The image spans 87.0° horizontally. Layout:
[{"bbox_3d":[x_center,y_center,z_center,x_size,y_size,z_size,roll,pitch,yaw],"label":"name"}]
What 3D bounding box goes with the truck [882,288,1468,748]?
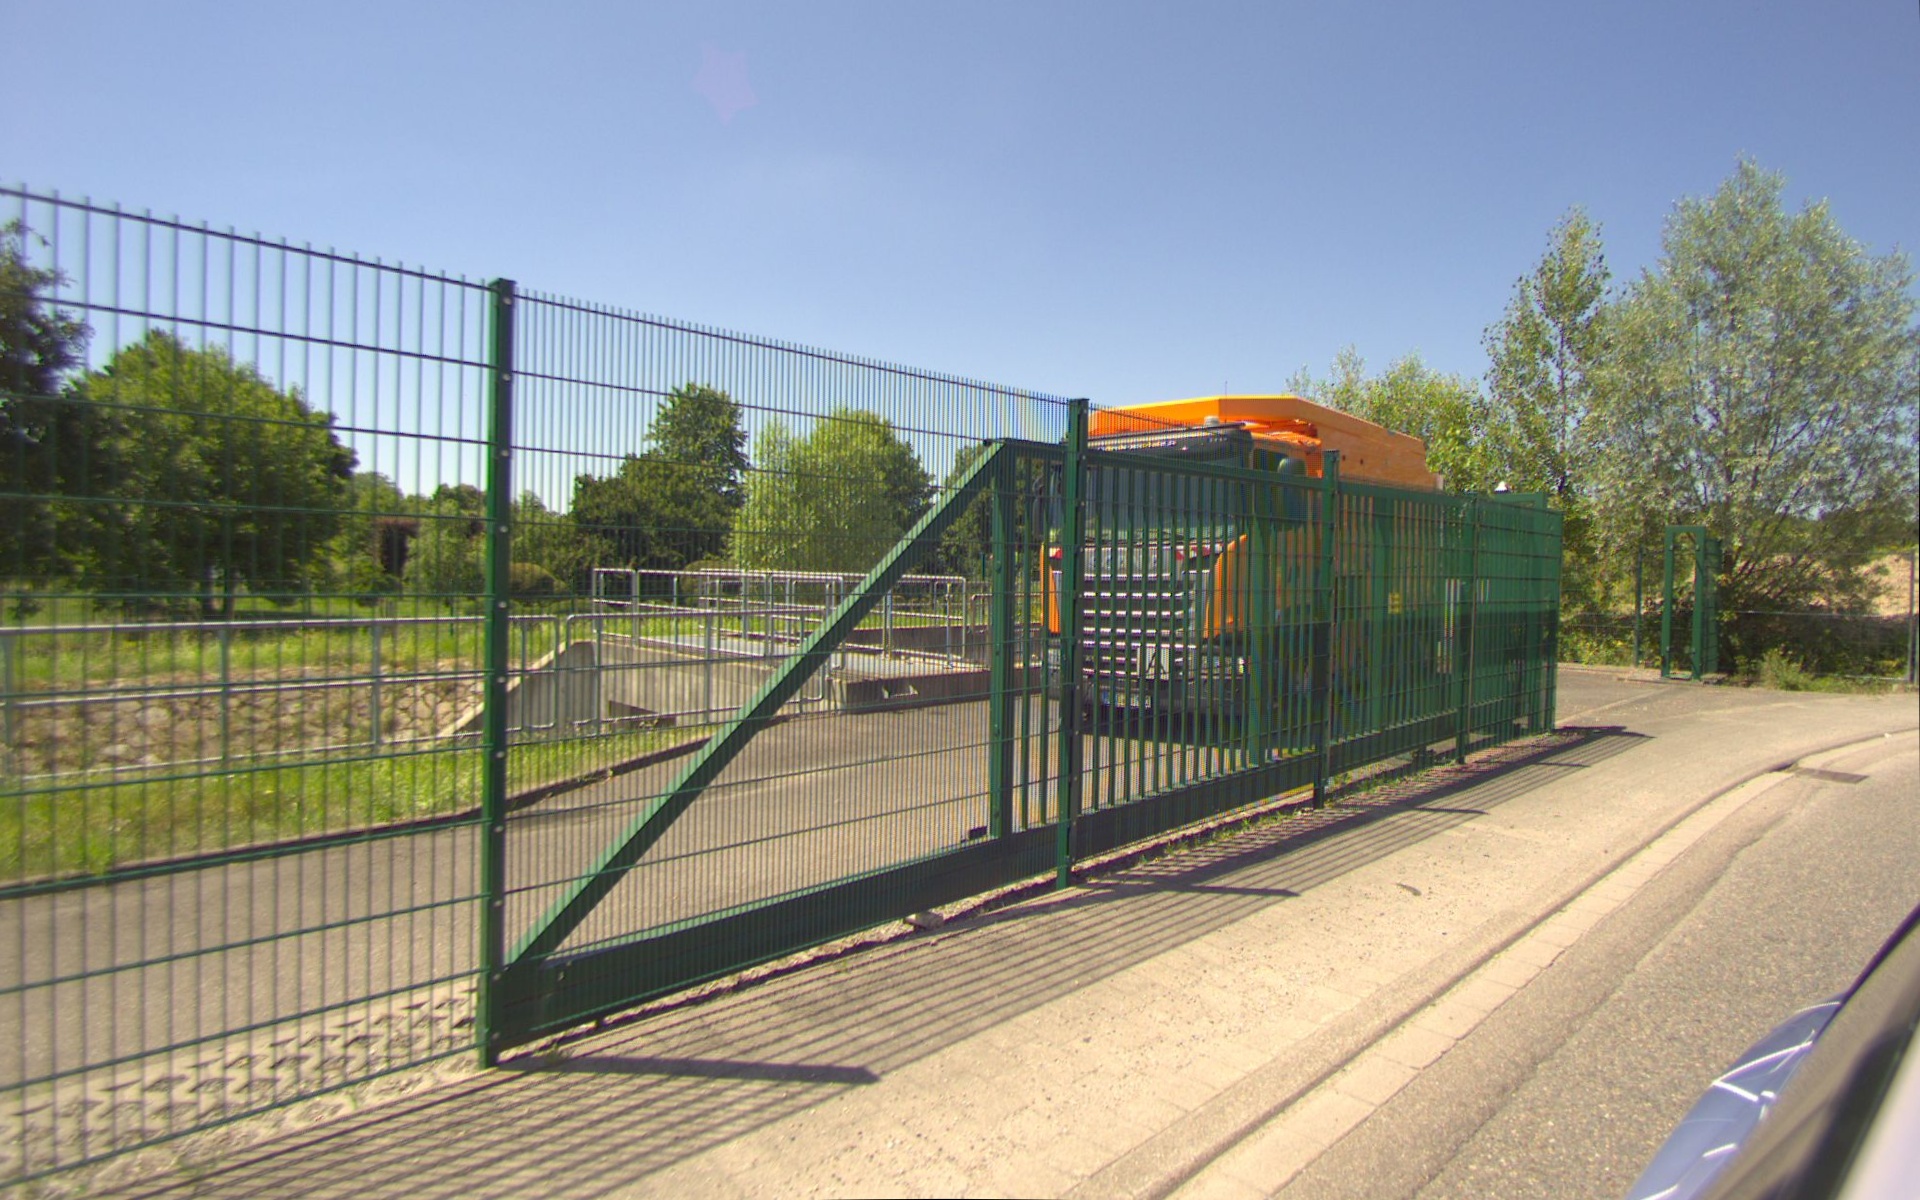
[{"bbox_3d":[3.370,-0.899,13.167,4.144,3.852,8.495,3,3,38],"label":"truck"}]
